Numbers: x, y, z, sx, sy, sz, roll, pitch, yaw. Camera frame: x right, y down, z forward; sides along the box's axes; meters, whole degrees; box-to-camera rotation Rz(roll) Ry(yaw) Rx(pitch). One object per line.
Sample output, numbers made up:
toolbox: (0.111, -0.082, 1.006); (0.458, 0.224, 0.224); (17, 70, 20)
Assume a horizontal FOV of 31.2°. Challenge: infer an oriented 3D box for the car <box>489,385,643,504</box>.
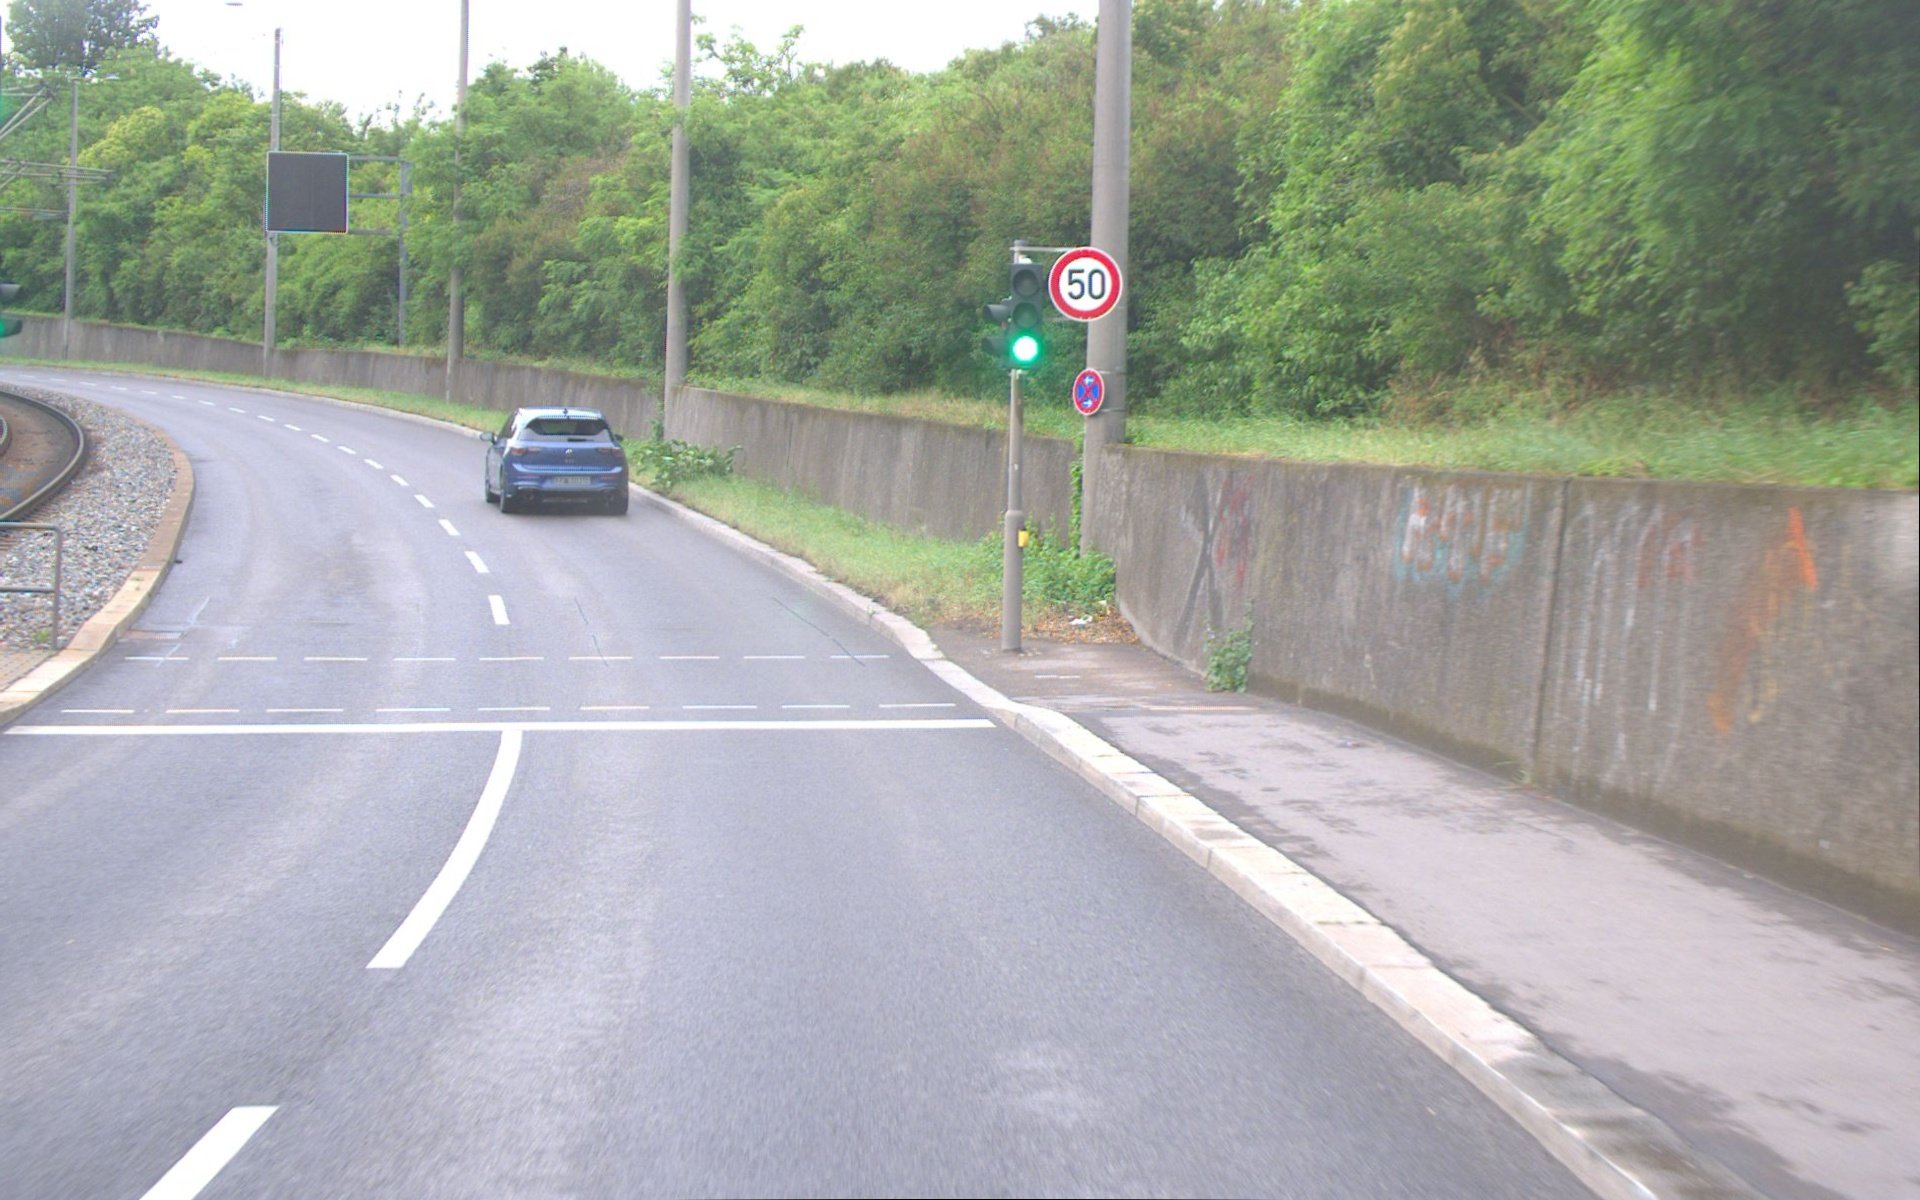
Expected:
car: (-5.636, -2.237, 48.816); (1.763, 1.495, 4.002); (1, 5, -12)
